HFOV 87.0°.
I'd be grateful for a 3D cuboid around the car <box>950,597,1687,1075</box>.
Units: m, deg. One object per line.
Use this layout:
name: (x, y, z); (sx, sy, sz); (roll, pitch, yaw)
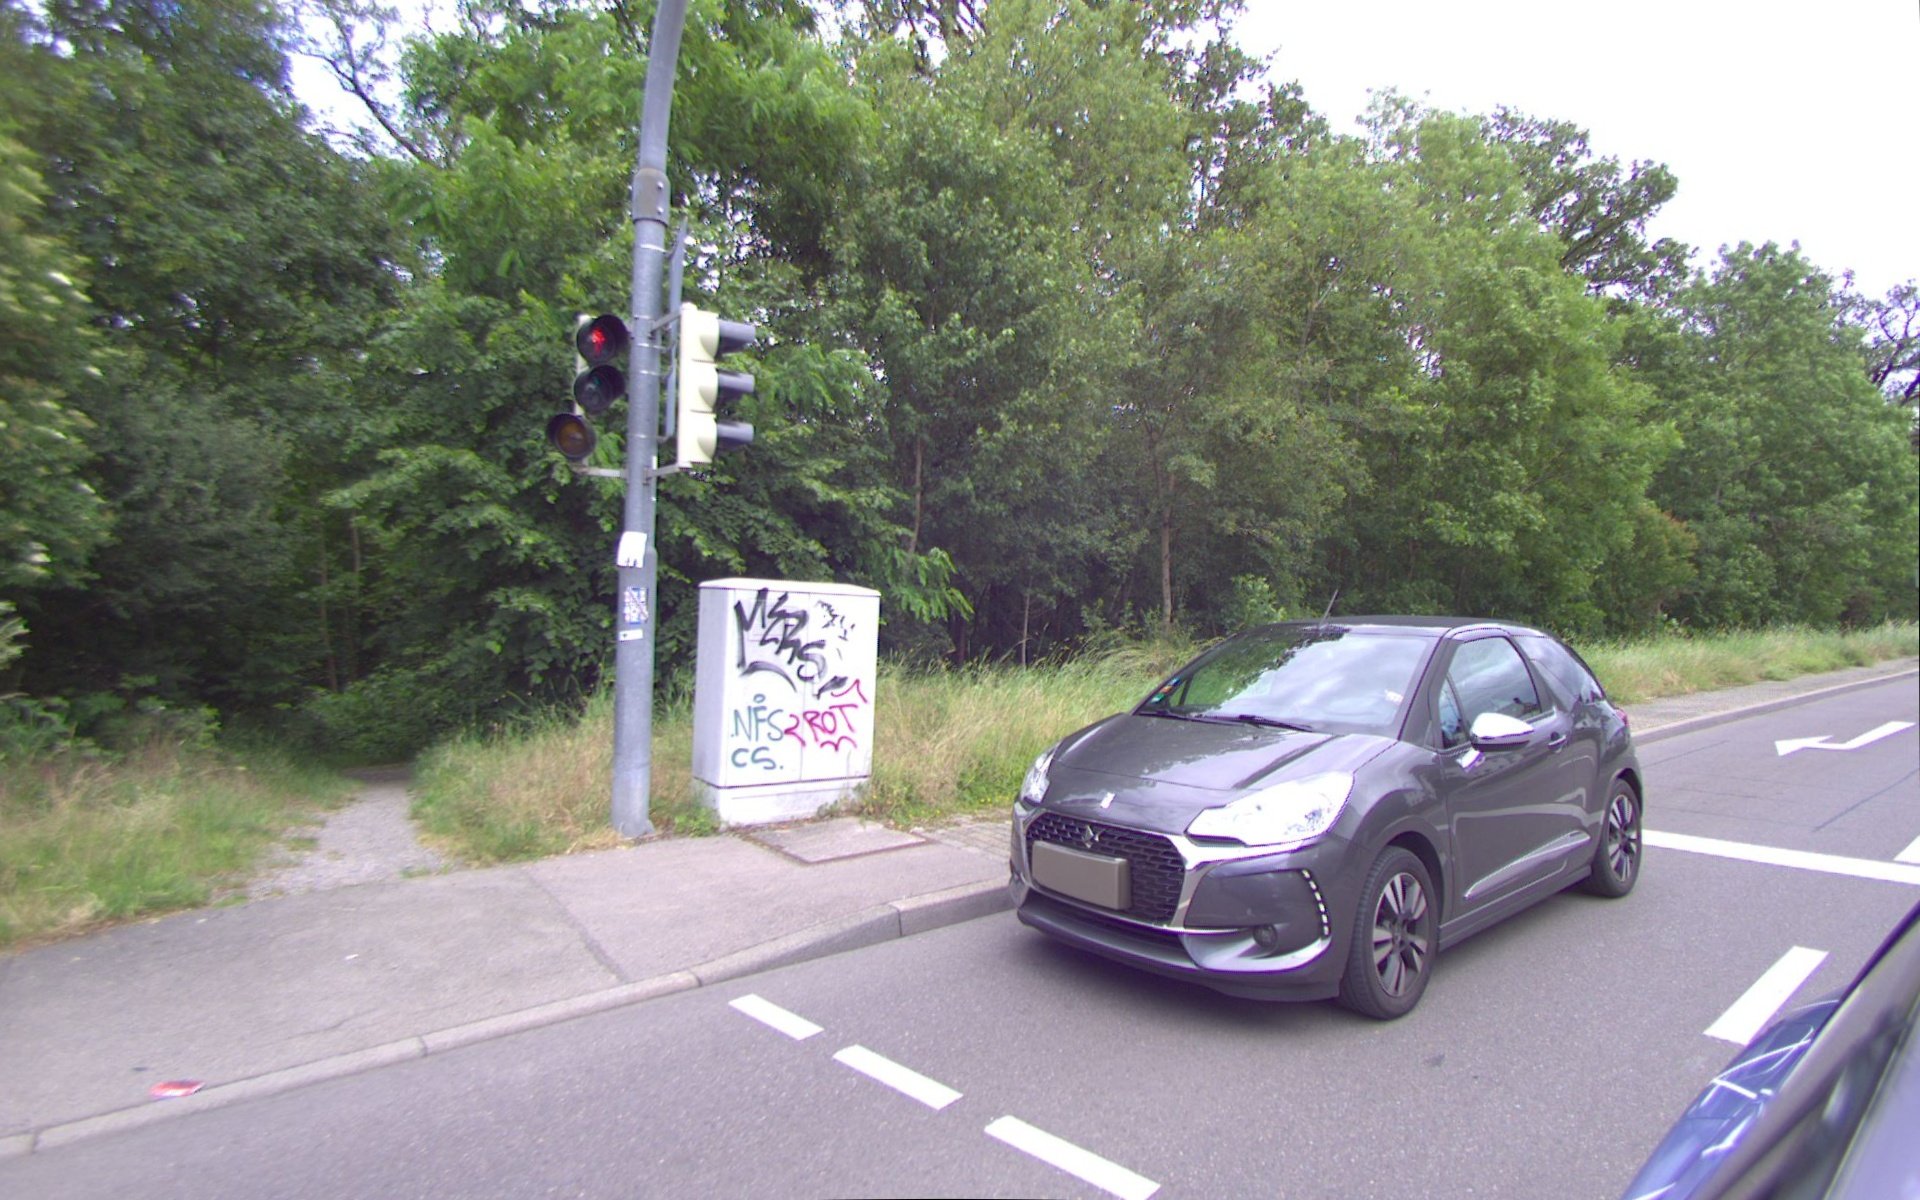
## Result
car: (1.966, 0.741, 5.031); (3.786, 1.476, 1.729); (0, -1, -39)
